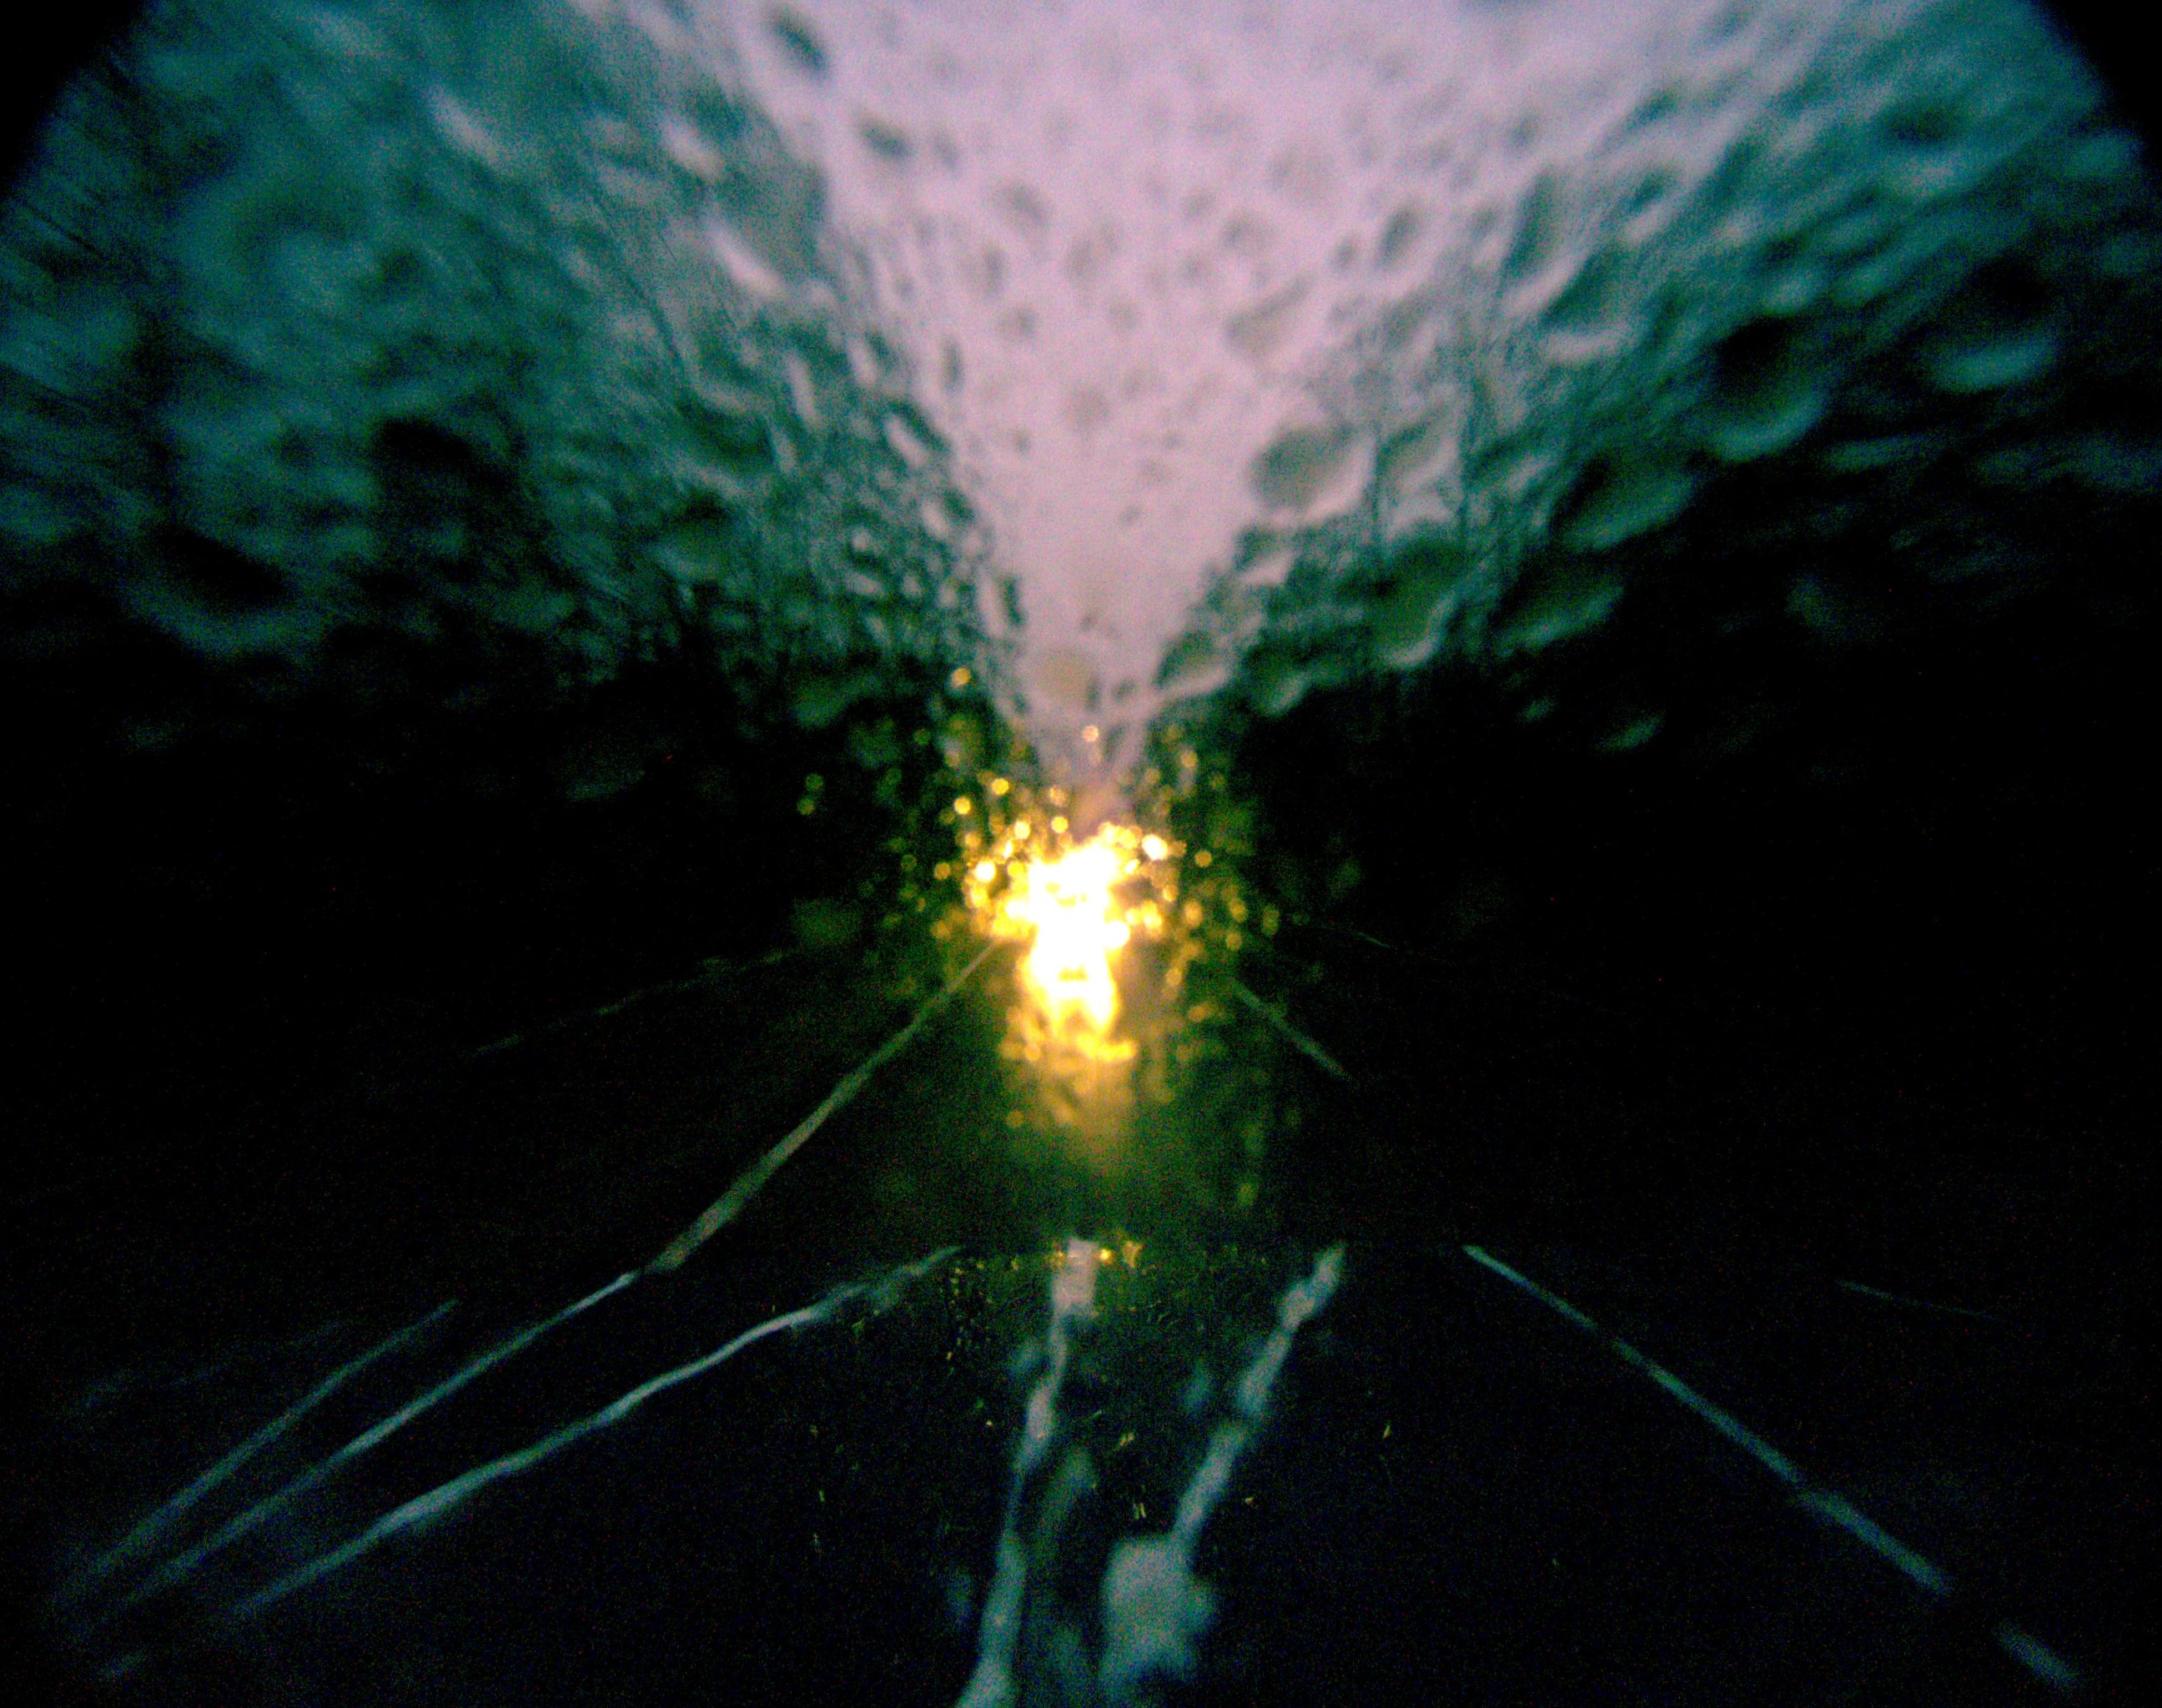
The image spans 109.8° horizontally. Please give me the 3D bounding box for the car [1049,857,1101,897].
[{"bbox_3d":[-0.154,0.839,29.266,1.845,1.390,4.000,-1,0,2],"label":"car"}]

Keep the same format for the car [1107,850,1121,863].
[{"bbox_3d":[5.332,0.444,123.681,1.998,2.002,3.999,-2,1,0],"label":"car"}]

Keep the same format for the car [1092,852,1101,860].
[{"bbox_3d":[3.502,0.418,169.980,1.998,1.652,3.999,-2,1,0],"label":"car"}]
